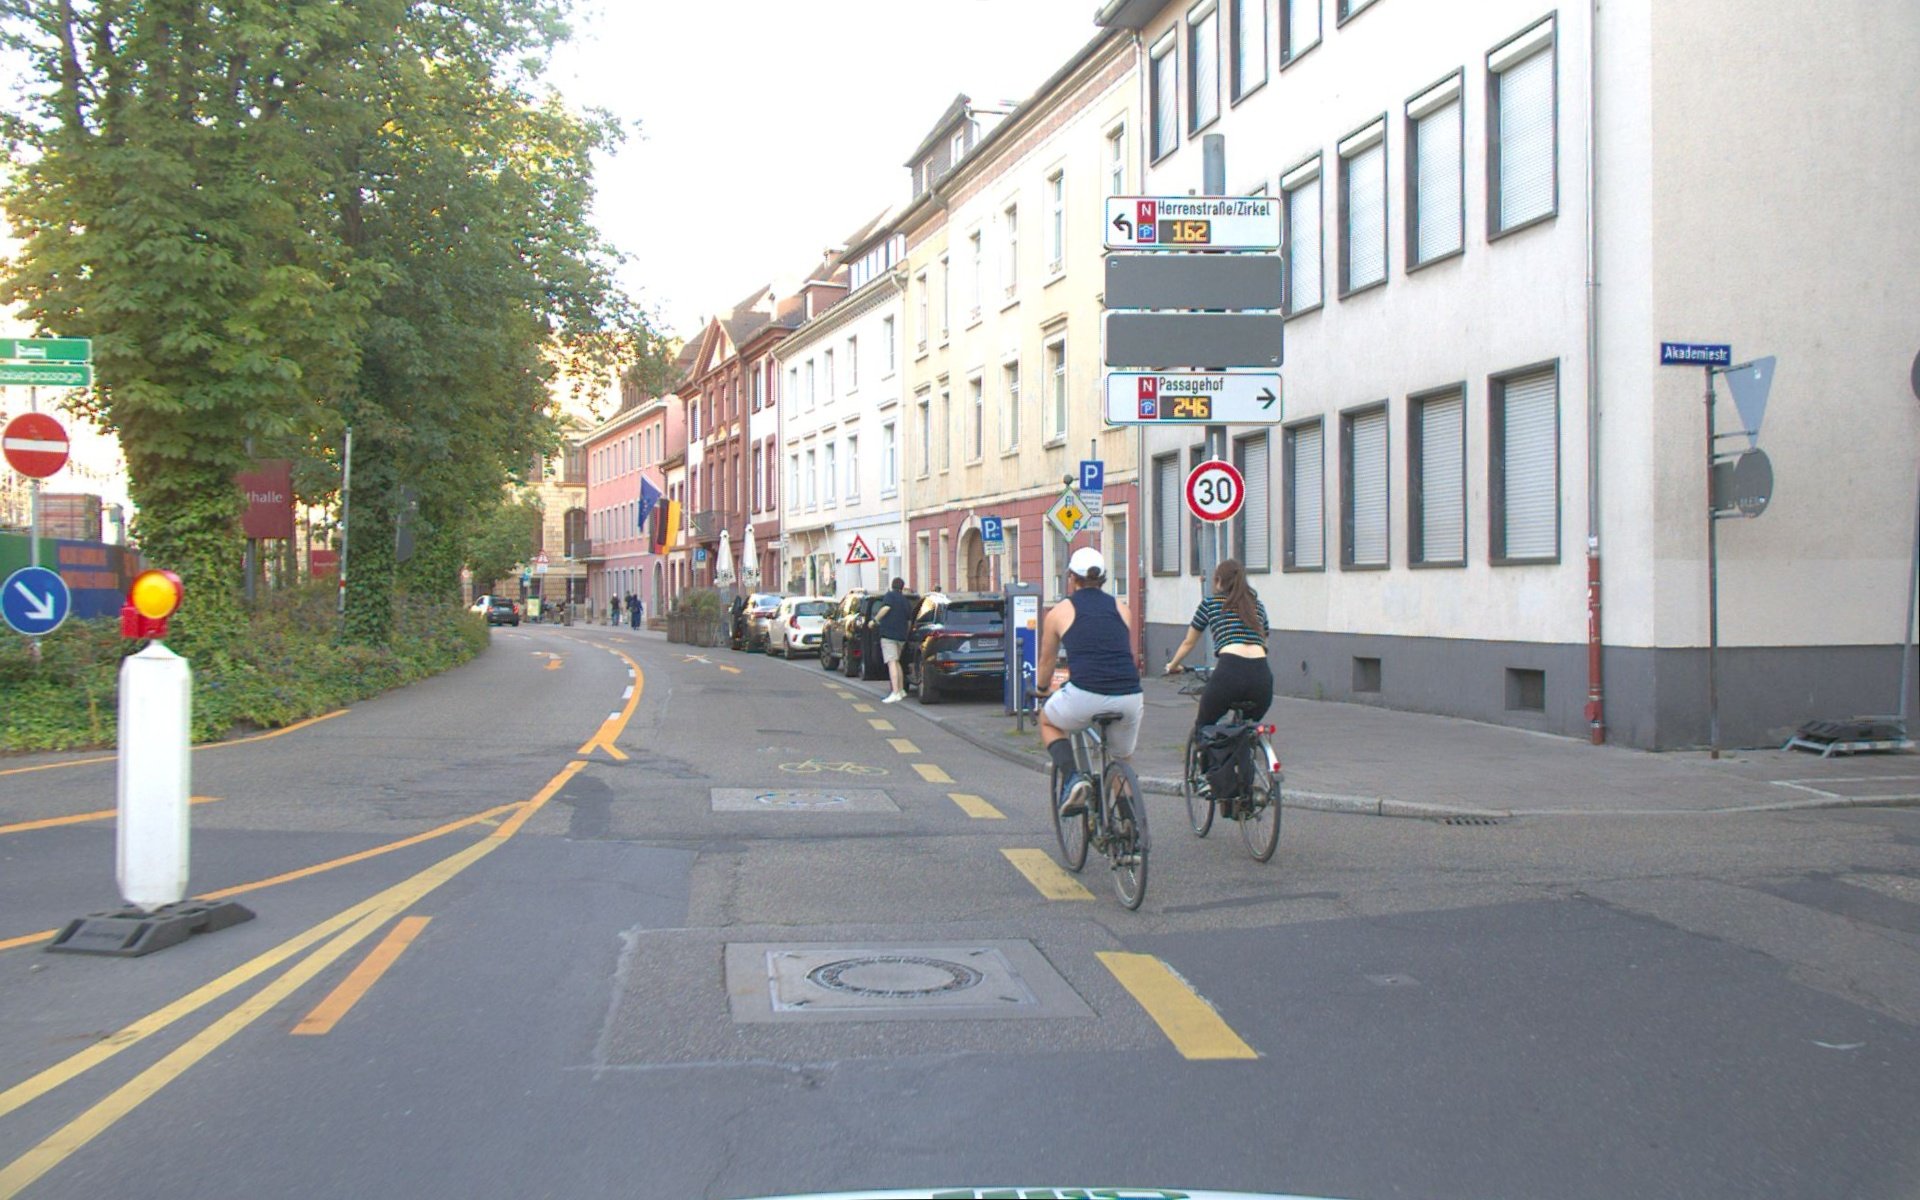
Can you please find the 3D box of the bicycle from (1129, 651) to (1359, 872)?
[{"bbox_3d":[1.628,0.896,9.912,0.641,1.089,2.253,2,0,-9],"label":"bicycle"}]

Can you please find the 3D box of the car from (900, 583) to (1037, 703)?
[{"bbox_3d":[0.058,0.601,25.640,1.777,1.712,3.915,0,0,-5],"label":"car"}]

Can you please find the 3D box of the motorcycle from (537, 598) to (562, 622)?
[{"bbox_3d":[-21.771,0.513,87.740,1.026,1.270,2.383,0,0,-21],"label":"motorcycle"}]

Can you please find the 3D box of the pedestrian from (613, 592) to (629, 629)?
[{"bbox_3d":[-16.819,0.512,82.013,0.738,1.793,0.582,0,0,-19],"label":"pedestrian"}]

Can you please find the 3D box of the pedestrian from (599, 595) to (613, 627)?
[{"bbox_3d":[-17.643,0.551,82.449,0.657,1.609,0.582,0,0,-19],"label":"pedestrian"}]

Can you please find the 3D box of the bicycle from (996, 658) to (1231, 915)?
[{"bbox_3d":[0.725,0.881,8.471,0.658,1.089,1.895,1,0,-12],"label":"bicycle"}]

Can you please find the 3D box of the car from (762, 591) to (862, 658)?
[{"bbox_3d":[-3.746,0.572,41.295,1.783,1.587,3.847,0,0,-17],"label":"car"}]

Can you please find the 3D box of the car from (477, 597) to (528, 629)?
[{"bbox_3d":[-23.033,0.628,83.121,1.791,1.587,3.831,0,0,-27],"label":"car"}]

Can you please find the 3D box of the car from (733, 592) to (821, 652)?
[{"bbox_3d":[-5.093,0.568,45.661,1.783,1.587,3.847,0,0,-17],"label":"car"}]

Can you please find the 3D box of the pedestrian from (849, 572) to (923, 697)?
[{"bbox_3d":[-1.157,0.522,25.820,0.888,1.898,0.925,0,0,-23],"label":"pedestrian"}]

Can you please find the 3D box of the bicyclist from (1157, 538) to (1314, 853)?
[{"bbox_3d":[1.631,0.546,9.897,0.637,1.791,0.862,1,0,-9],"label":"bicyclist"}]

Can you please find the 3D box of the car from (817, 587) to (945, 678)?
[{"bbox_3d":[-1.662,0.608,33.431,1.782,1.713,3.983,0,0,-15],"label":"car"}]

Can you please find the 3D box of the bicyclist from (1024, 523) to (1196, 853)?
[{"bbox_3d":[0.747,0.430,8.394,0.657,1.593,0.696,2,0,-12],"label":"bicyclist"}]
